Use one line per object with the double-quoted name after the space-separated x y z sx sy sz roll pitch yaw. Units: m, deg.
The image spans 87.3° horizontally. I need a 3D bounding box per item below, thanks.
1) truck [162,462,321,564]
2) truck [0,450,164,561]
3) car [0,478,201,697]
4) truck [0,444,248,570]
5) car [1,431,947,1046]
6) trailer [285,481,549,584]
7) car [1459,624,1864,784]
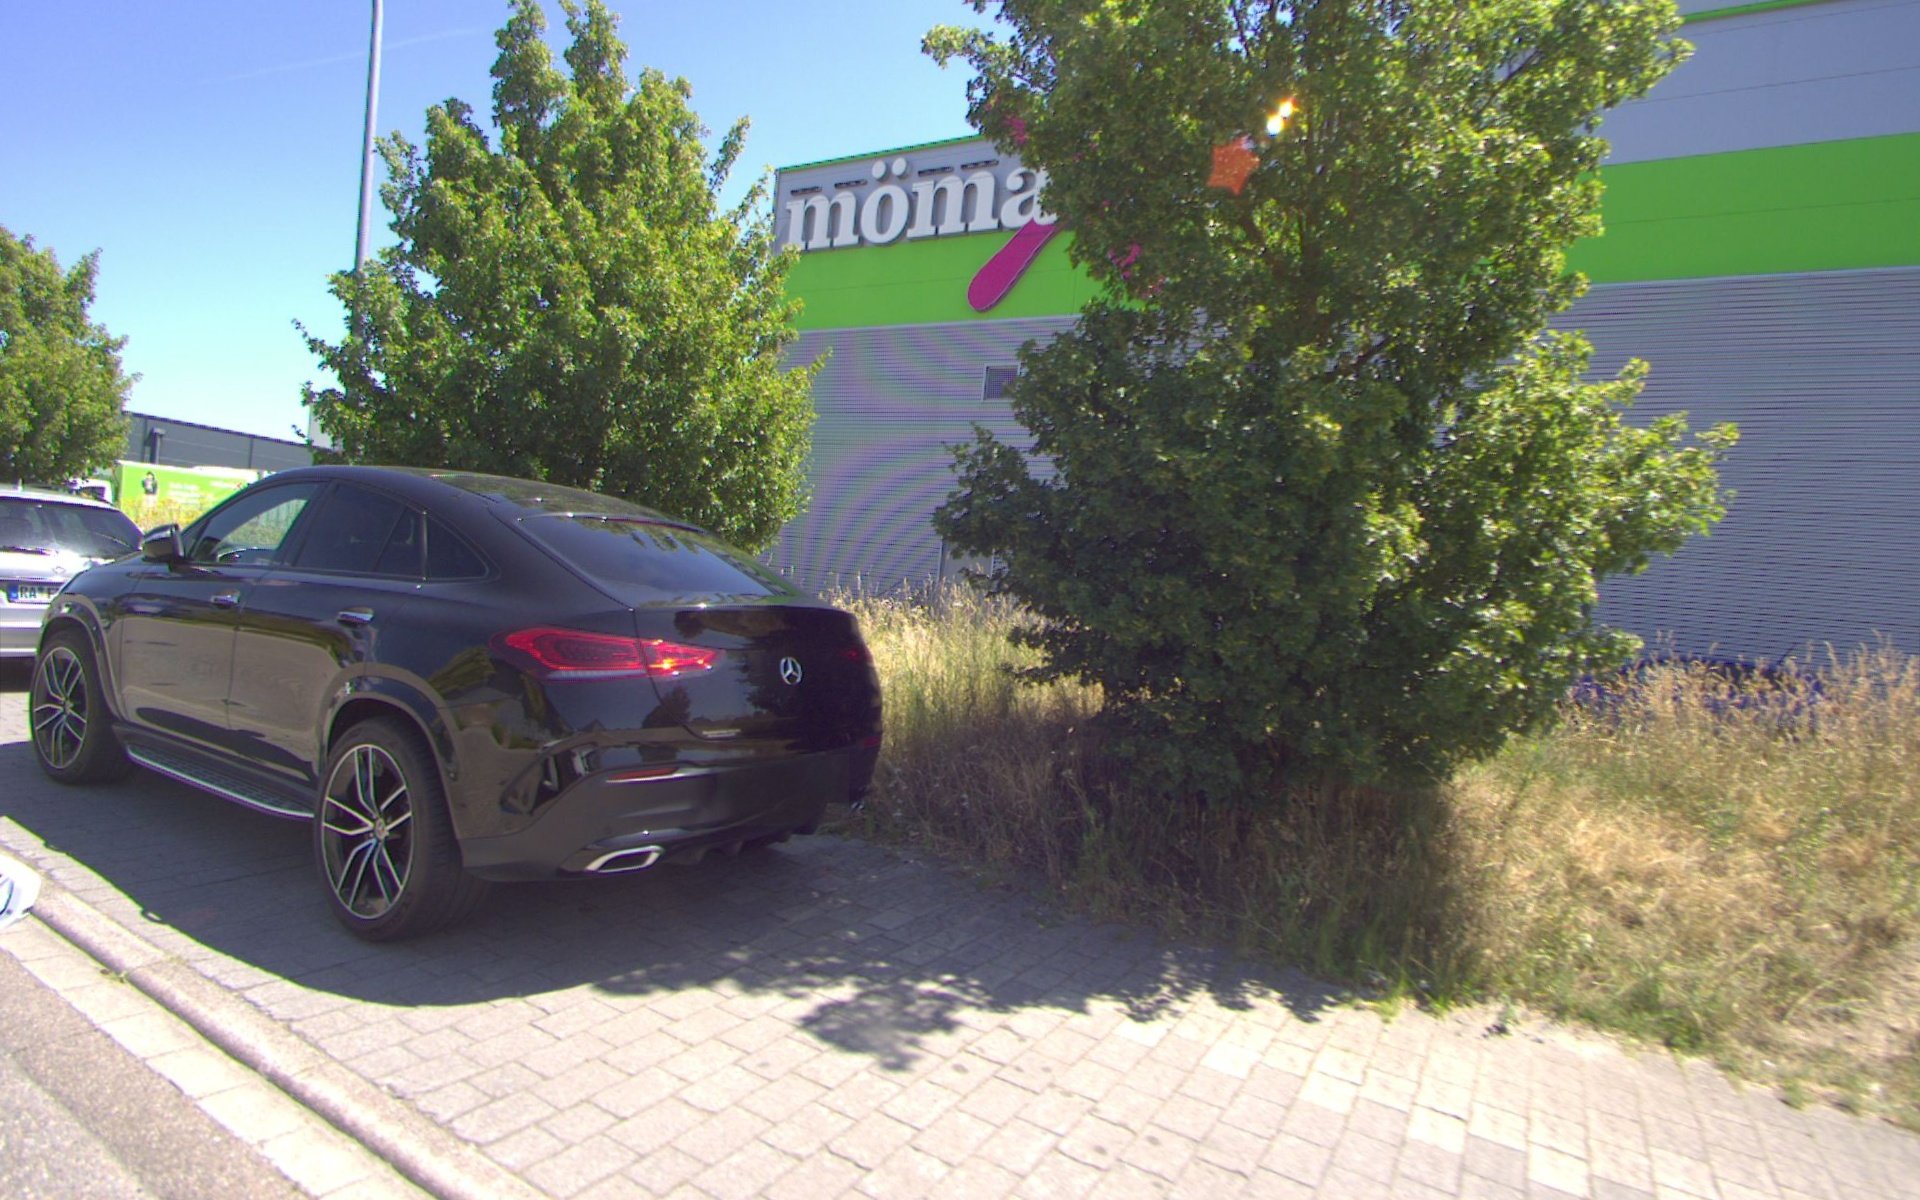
-33.092 -3.950 46.481 2.758 3.923 5.068 5 0 31 "truck"
-29.237 -3.041 31.786 2.374 2.950 5.828 6 0 30 "truck"
-8.482 -0.303 8.222 4.691 1.502 1.806 6 2 28 "car"
-25.091 -2.649 29.887 2.266 2.908 5.911 6 0 28 "truck"
-2.526 0.240 4.861 4.469 1.723 1.949 7 2 32 "car"
-28.557 -3.392 54.047 2.758 3.923 12.632 5 -1 31 "trailer"
9.653 1.349 14.311 4.327 1.518 1.995 6 1 31 "car"
